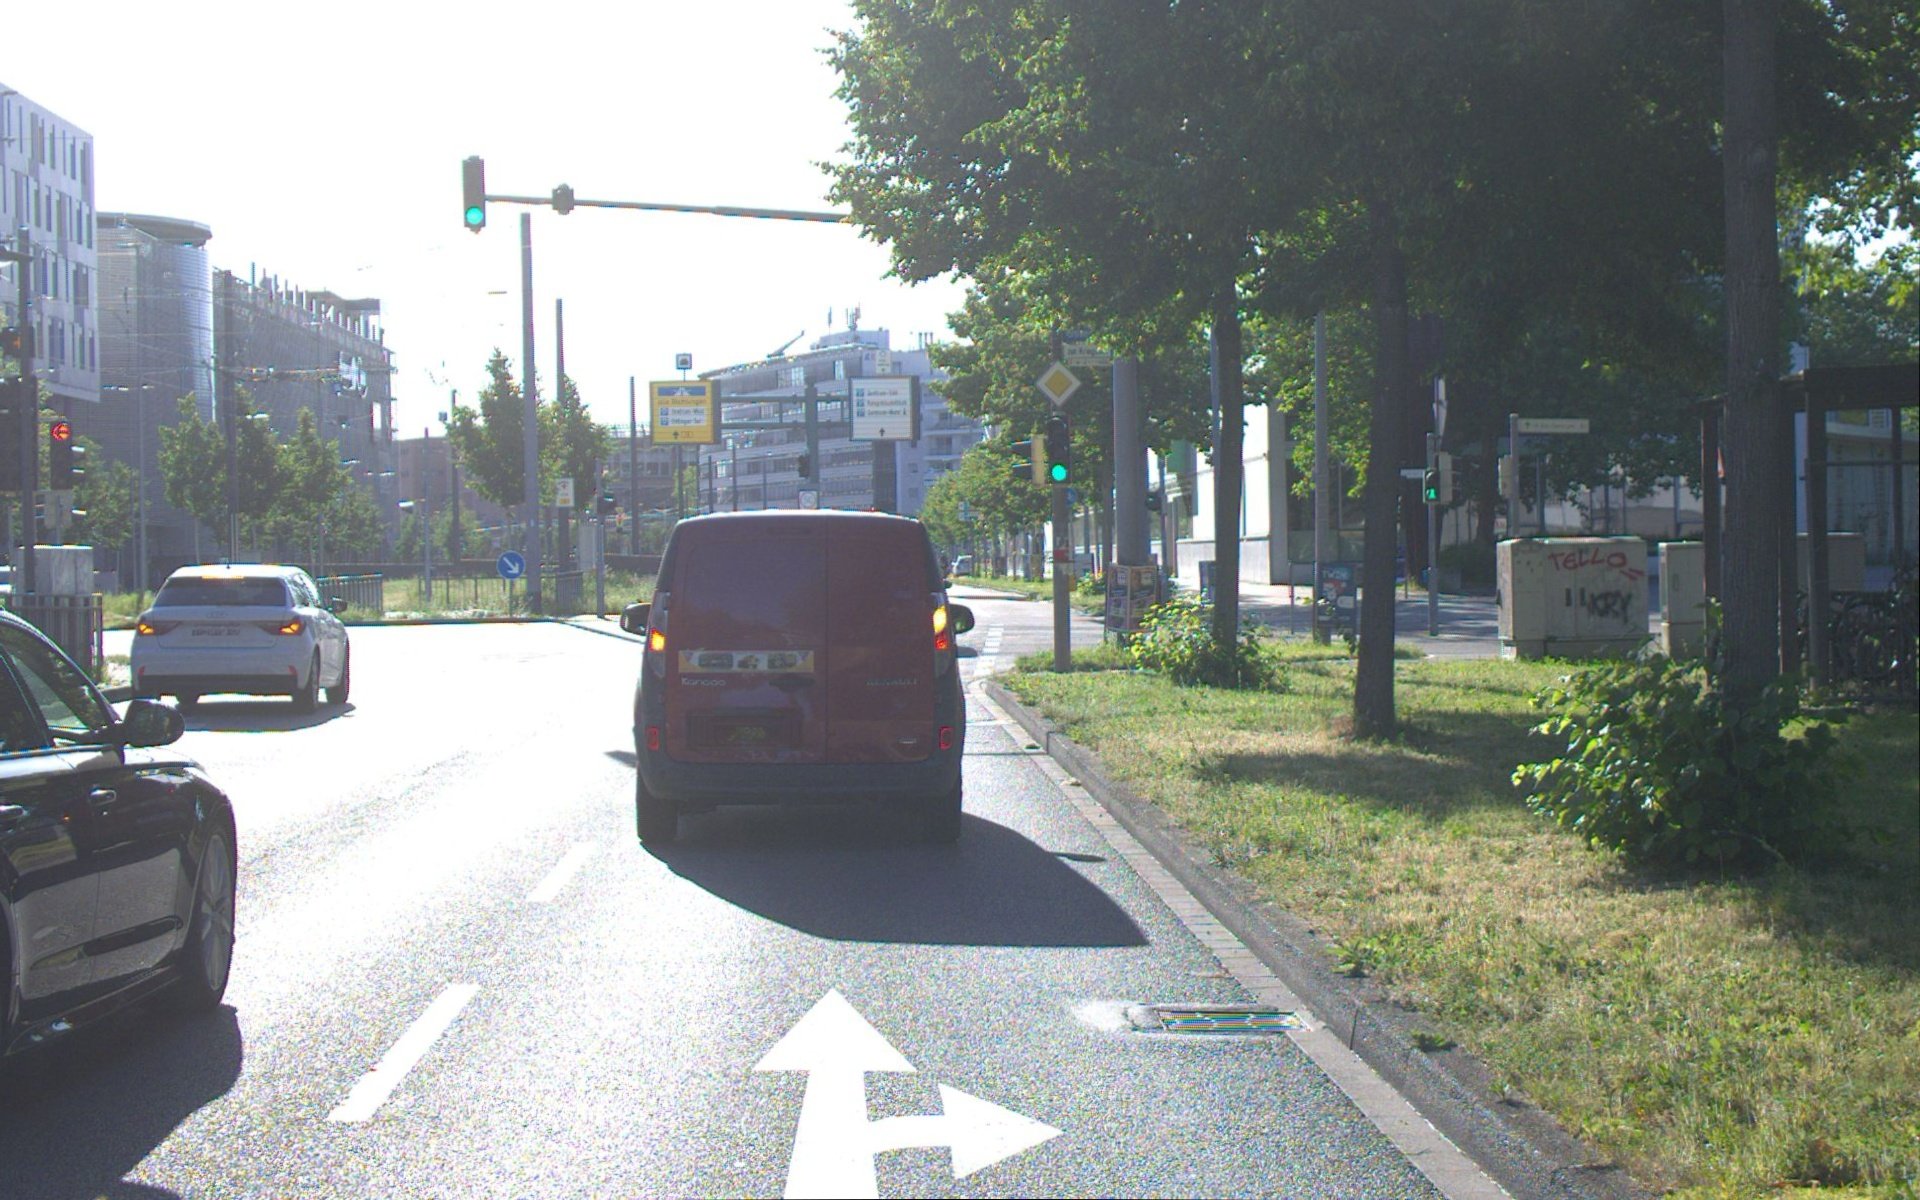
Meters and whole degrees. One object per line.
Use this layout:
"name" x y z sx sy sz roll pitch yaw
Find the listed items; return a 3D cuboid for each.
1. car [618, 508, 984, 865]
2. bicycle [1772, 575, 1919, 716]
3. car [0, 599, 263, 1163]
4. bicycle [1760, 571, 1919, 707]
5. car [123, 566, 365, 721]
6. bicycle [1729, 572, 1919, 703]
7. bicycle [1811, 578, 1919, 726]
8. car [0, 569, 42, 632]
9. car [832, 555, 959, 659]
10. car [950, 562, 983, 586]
"car" -0.885 0.423 19.678 1.848 1.808 4.115 1 1 -2
"bicycle" 7.669 0.374 28.622 1.696 1.165 0.551 0 1 1
"car" -3.385 0.730 9.779 1.812 1.422 4.690 1 1 0
"bicycle" 7.850 0.335 29.835 1.696 1.165 0.551 0 1 1
"car" -7.013 0.388 34.034 1.671 1.422 4.006 1 1 -2
"bicycle" 7.823 0.334 30.989 1.696 1.165 0.551 0 1 7
"bicycle" 7.792 0.411 27.573 1.803 1.165 0.551 0 1 2
"car" -25.270 0.015 88.801 1.993 1.557 4.872 -1 1 -3
"car" -1.048 0.080 53.849 1.852 1.541 4.001 0 1 -3
"car" 0.422 -1.765 229.564 1.852 1.476 4.854 -3 1 -3
